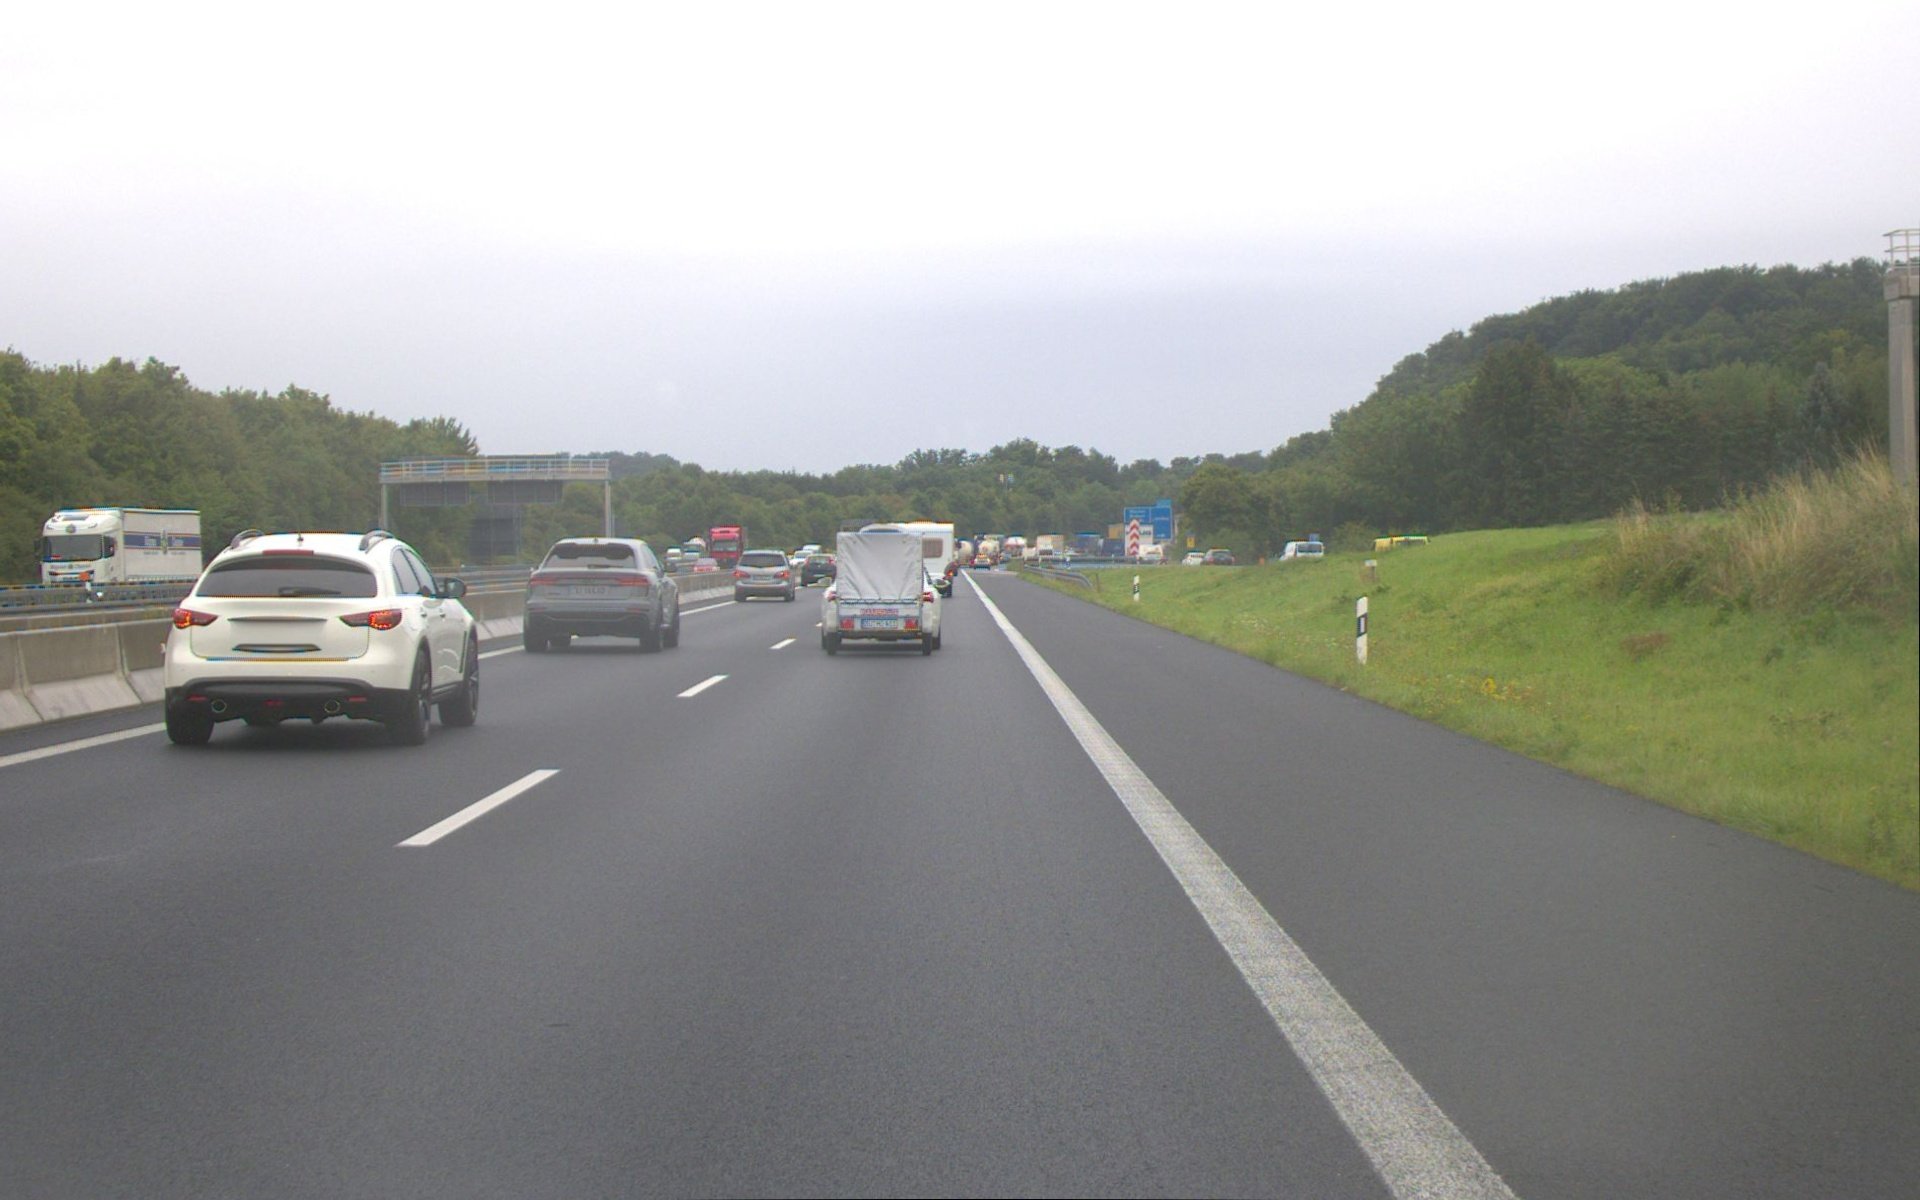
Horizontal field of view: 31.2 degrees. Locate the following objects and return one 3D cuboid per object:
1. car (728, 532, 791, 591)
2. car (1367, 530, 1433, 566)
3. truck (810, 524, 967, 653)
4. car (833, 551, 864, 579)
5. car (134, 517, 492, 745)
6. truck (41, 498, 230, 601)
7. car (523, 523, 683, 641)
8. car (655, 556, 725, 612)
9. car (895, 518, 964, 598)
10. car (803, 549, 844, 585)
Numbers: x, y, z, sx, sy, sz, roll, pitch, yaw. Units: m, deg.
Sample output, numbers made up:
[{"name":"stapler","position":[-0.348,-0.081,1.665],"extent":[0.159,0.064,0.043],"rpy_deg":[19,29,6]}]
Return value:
[{"name":"car","position":[-6.221,-1.201,106.980],"extent":[1.738,1.787,4.000],"rpy_deg":[0,1,0]},{"name":"car","position":[19.132,-2.256,149.561],"extent":[1.993,1.547,4.001],"rpy_deg":[1,1,-5]},{"name":"truck","position":[-1.089,-0.218,52.515],"extent":[2.242,1.833,6.585],"rpy_deg":[0,1,-1]},{"name":"car","position":[-6.337,-2.013,195.820],"extent":[1.645,1.568,4.000],"rpy_deg":[1,1,0]},{"name":"car","position":[-5.078,0.194,27.610],"extent":[2.048,1.665,4.541],"rpy_deg":[0,1,0]},{"name":"truck","position":[-32.667,-2.024,137.181],"extent":[3.178,3.795,17.135],"rpy_deg":[-1,1,1]},{"name":"car","position":[-5.391,-0.300,52.391],"extent":[1.975,1.697,4.802],"rpy_deg":[0,1,-1]},{"name":"car","position":[-8.366,-0.514,106.768],"extent":[1.819,1.656,4.017],"rpy_deg":[-1,1,0]},{"name":"car","position":[-1.067,-1.481,120.699],"extent":[2.331,2.716,6.540],"rpy_deg":[1,1,0]},{"name":"car","position":[-6.150,-1.501,154.913],"extent":[1.645,1.568,4.000],"rpy_deg":[1,1,0]}]
